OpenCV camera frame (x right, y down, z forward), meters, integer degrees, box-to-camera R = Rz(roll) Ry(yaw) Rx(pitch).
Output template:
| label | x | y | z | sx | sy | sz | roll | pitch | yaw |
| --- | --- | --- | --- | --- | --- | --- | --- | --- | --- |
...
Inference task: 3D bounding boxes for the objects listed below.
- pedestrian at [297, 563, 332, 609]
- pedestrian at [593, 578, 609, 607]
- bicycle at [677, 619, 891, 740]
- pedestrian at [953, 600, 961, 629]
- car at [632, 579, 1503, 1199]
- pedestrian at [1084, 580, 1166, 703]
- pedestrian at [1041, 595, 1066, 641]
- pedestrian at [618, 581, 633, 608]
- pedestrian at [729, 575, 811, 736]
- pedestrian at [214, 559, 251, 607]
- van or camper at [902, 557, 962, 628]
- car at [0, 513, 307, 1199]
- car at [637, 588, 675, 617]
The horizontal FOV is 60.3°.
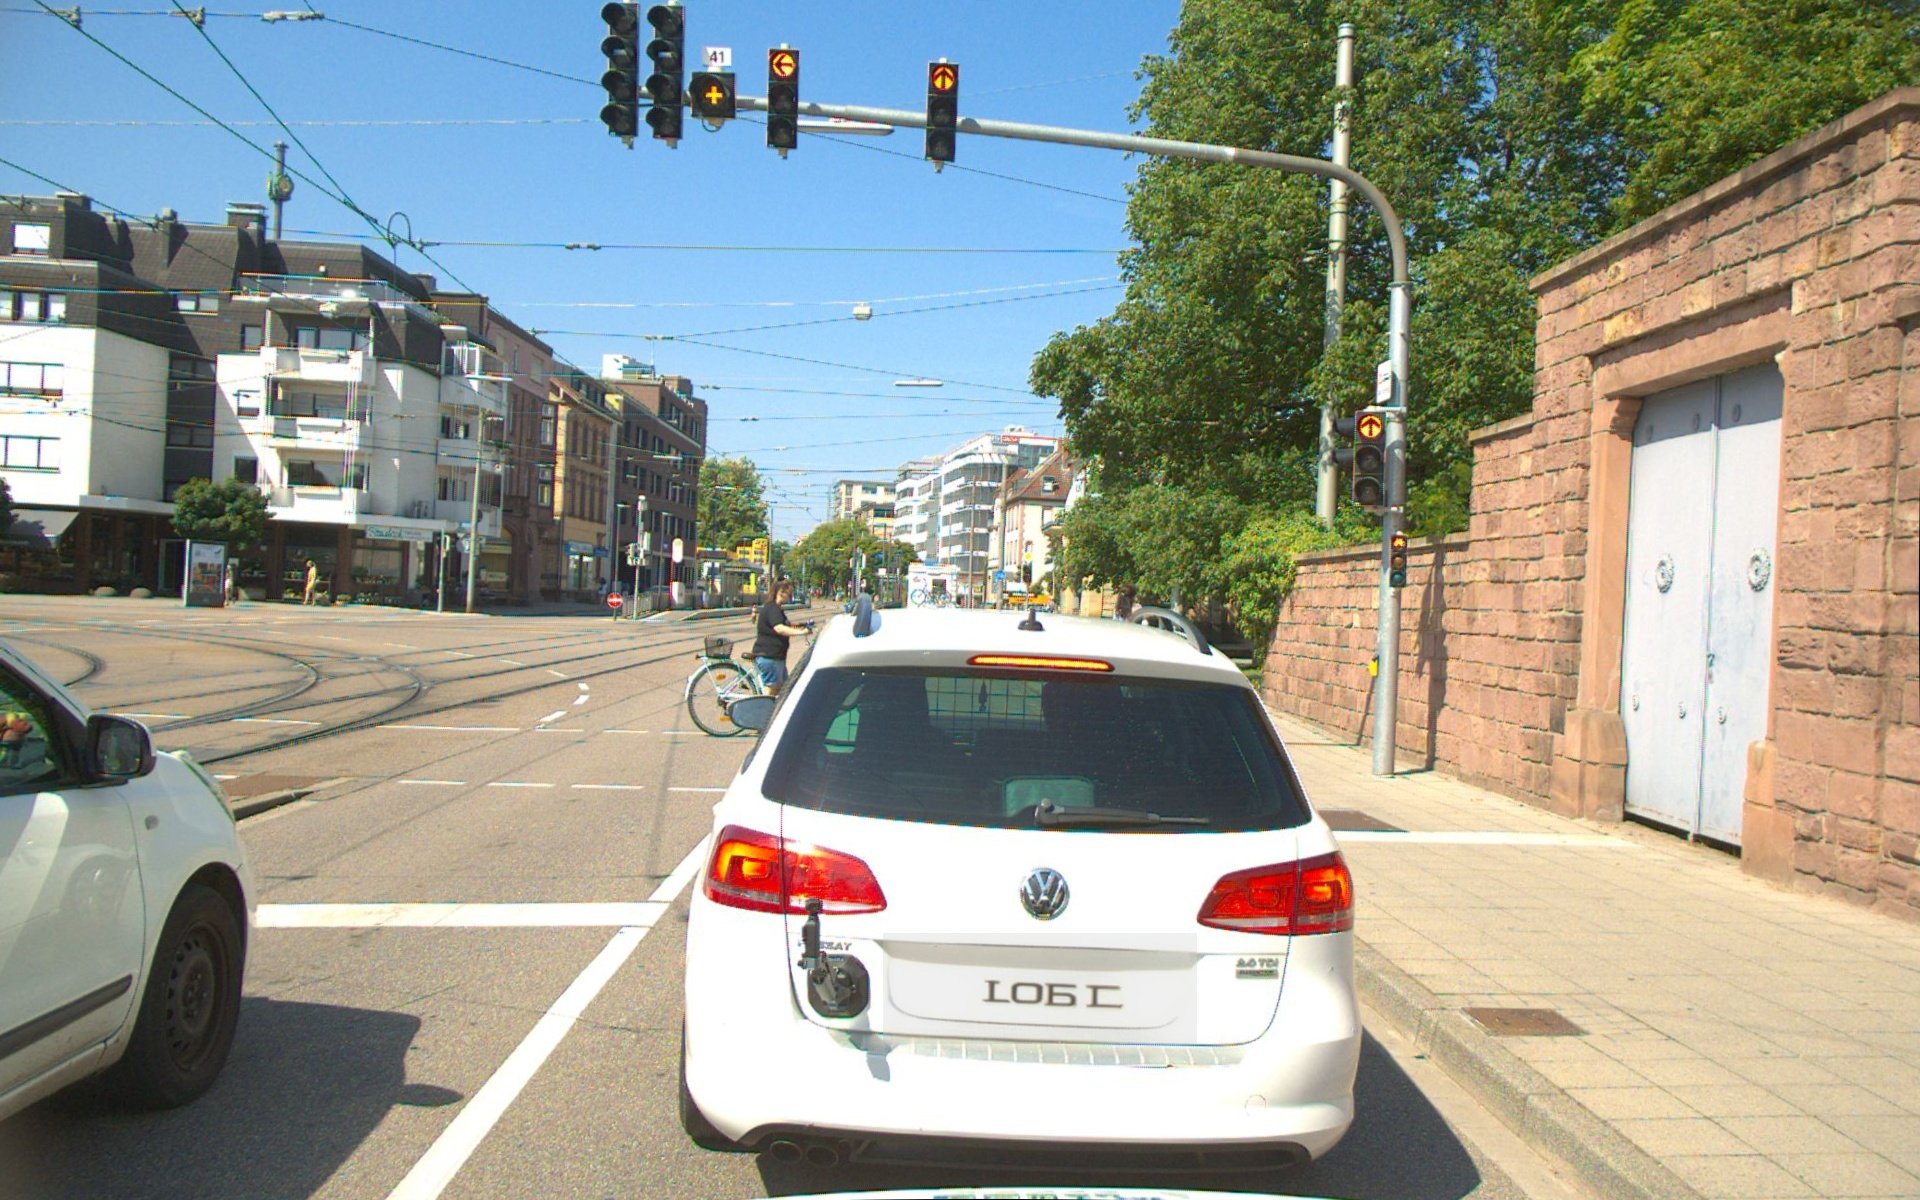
| label | x | y | z | sx | sy | sz | roll | pitch | yaw |
| --- | --- | --- | --- | --- | --- | --- | --- | --- | --- |
| pedestrian | -25.637 | -0.553 | 65.668 | 0.847 | 1.773 | 0.971 | 0 | -1 | 36 |
| pedestrian | -22.261 | -0.432 | 102.524 | 0.845 | 1.773 | 0.973 | 1 | -1 | -6 |
| bicycle | -1.743 | 0.786 | 16.315 | 1.986 | 1.109 | 0.707 | 2 | 0 | -16 |
| pedestrian | -0.228 | 1.230 | 136.249 | 0.675 | 2.366 | 1.232 | 0 | -1 | 0 |
| car | 0.190 | 0.717 | 5.435 | 1.771 | 1.473 | 3.999 | 2 | 0 | -1 |
| pedestrian | 2.321 | 0.569 | 23.166 | 0.933 | 1.680 | 0.975 | 0 | -1 | 19 |
| pedestrian | 3.656 | 0.687 | 64.398 | 0.843 | 1.773 | 0.976 | 0 | -1 | 11 |
| pedestrian | -21.896 | -0.346 | 108.280 | 0.845 | 1.773 | 0.973 | 1 | -1 | -6 |
| pedestrian | -1.944 | 0.547 | 16.869 | 0.733 | 1.599 | 0.673 | 1 | 1 | -15 |
| pedestrian | -27.084 | -0.623 | 61.560 | 0.848 | 1.773 | 0.970 | 0 | -1 | 38 |
| van or camper | -1.269 | -0.286 | 76.910 | 2.513 | 3.147 | 5.703 | 0 | -1 | 2 |
| car | -2.839 | 0.607 | 3.309 | 1.608 | 1.593 | 3.803 | 1 | 1 | -1 |
| car | -17.640 | 0.173 | 95.999 | 1.706 | 1.646 | 3.996 | 0 | -1 | -4 |
